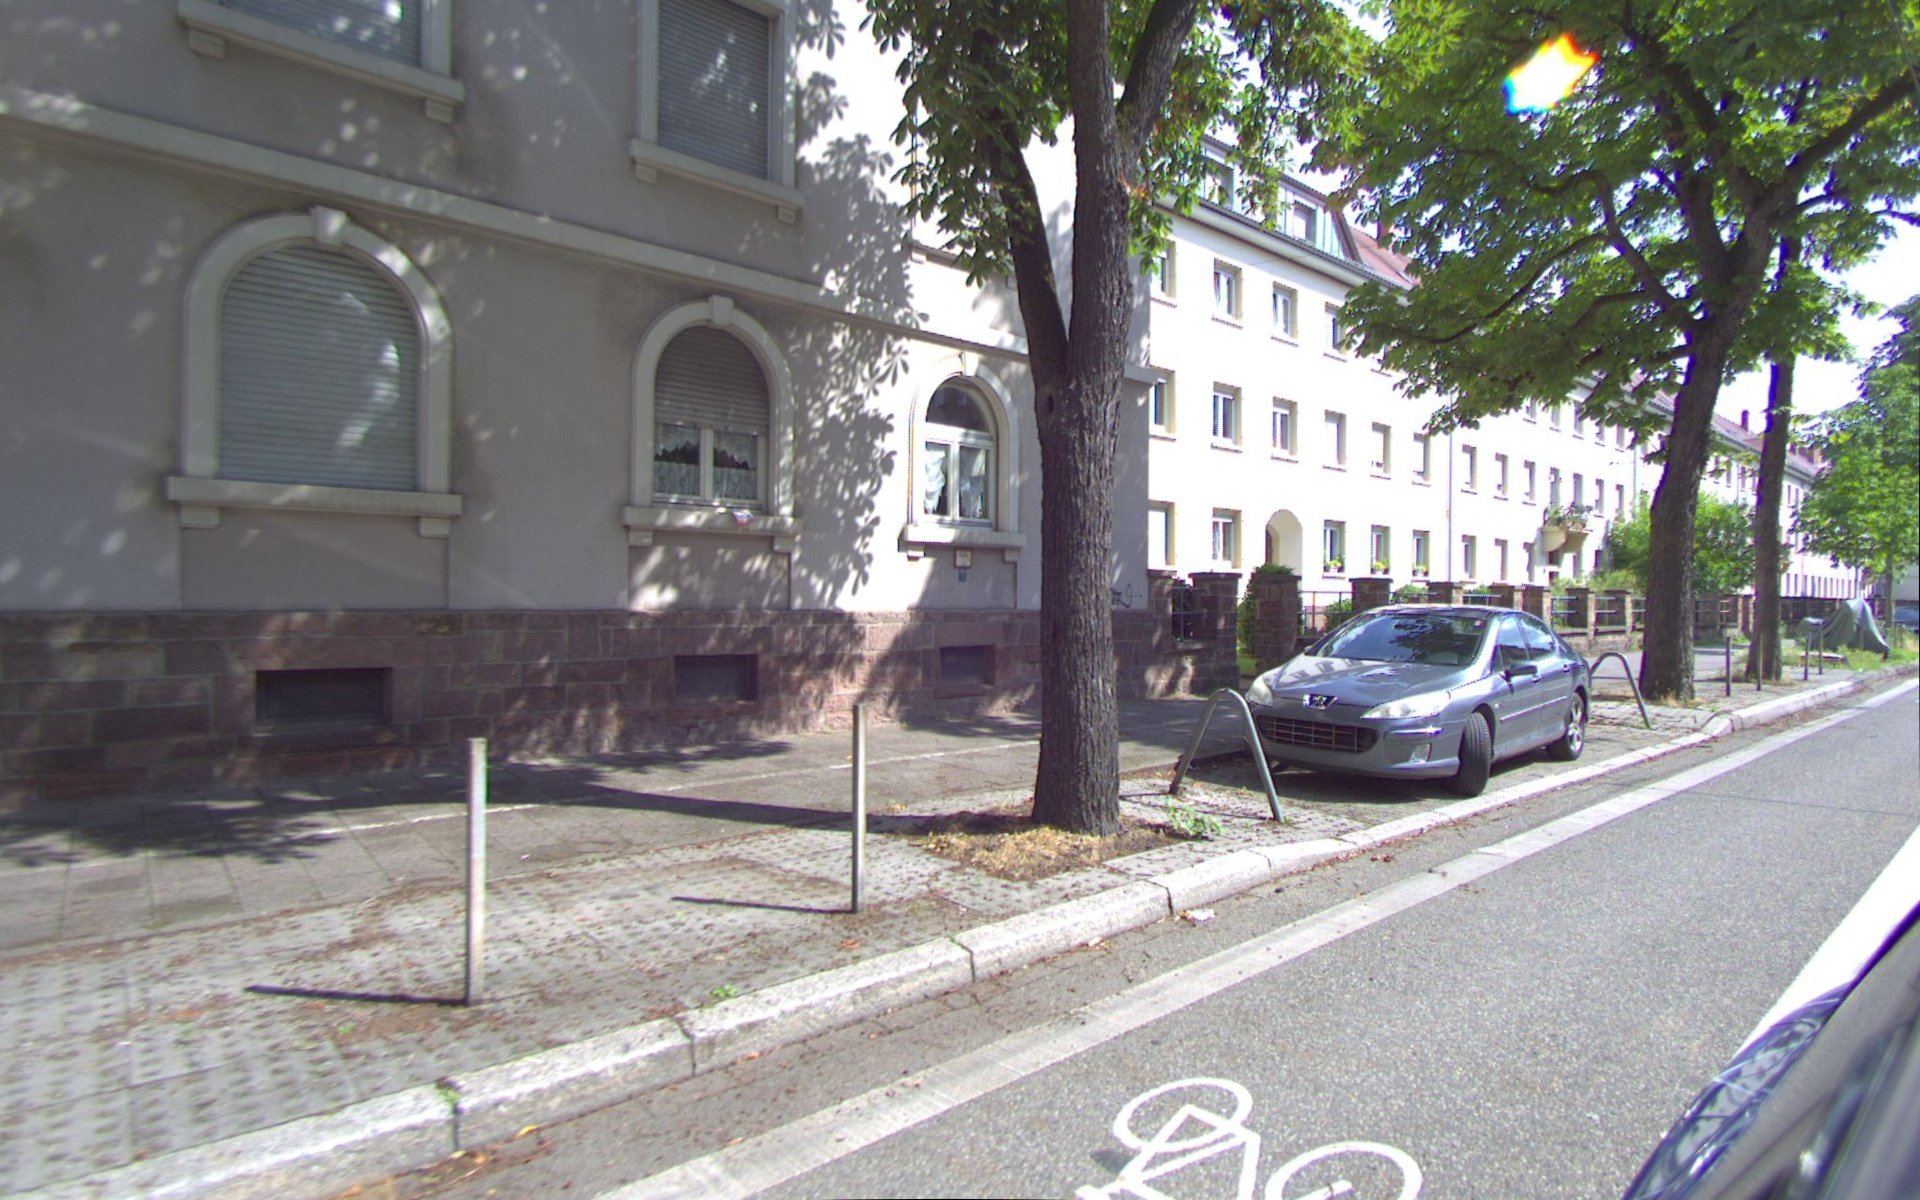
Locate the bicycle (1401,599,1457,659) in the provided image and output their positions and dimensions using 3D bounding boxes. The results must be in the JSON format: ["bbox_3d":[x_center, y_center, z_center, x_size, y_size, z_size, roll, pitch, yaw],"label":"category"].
[{"bbox_3d":[9.939,0.590,21.432,1.674,1.227,0.413,0,0,-41],"label":"bicycle"}]

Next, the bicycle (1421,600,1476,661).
[{"bbox_3d":[10.207,0.609,21.119,1.674,1.227,0.413,0,0,-41],"label":"bicycle"}]

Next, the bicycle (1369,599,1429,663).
[{"bbox_3d":[8.777,0.596,20.190,1.674,1.227,0.413,0,0,-41],"label":"bicycle"}]

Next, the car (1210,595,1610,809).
[{"bbox_3d":[4.270,0.700,9.237,4.322,1.427,1.848,0,2,-44],"label":"car"}]

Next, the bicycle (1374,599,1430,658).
[{"bbox_3d":[9.495,0.600,21.719,1.674,1.227,0.413,0,0,-41],"label":"bicycle"}]

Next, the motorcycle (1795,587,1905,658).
[{"bbox_3d":[21.313,0.502,24.317,0.666,1.617,2.384,0,0,4],"label":"motorcycle"}]

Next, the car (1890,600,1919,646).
[{"bbox_3d":[32.815,0.752,34.111,4.124,1.498,1.708,0,-2,-41],"label":"car"}]

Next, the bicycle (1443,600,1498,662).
[{"bbox_3d":[10.522,0.616,20.835,1.674,1.227,0.413,0,0,-41],"label":"bicycle"}]

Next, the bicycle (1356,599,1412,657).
[{"bbox_3d":[9.244,0.598,22.044,1.674,1.227,0.413,0,0,-41],"label":"bicycle"}]
